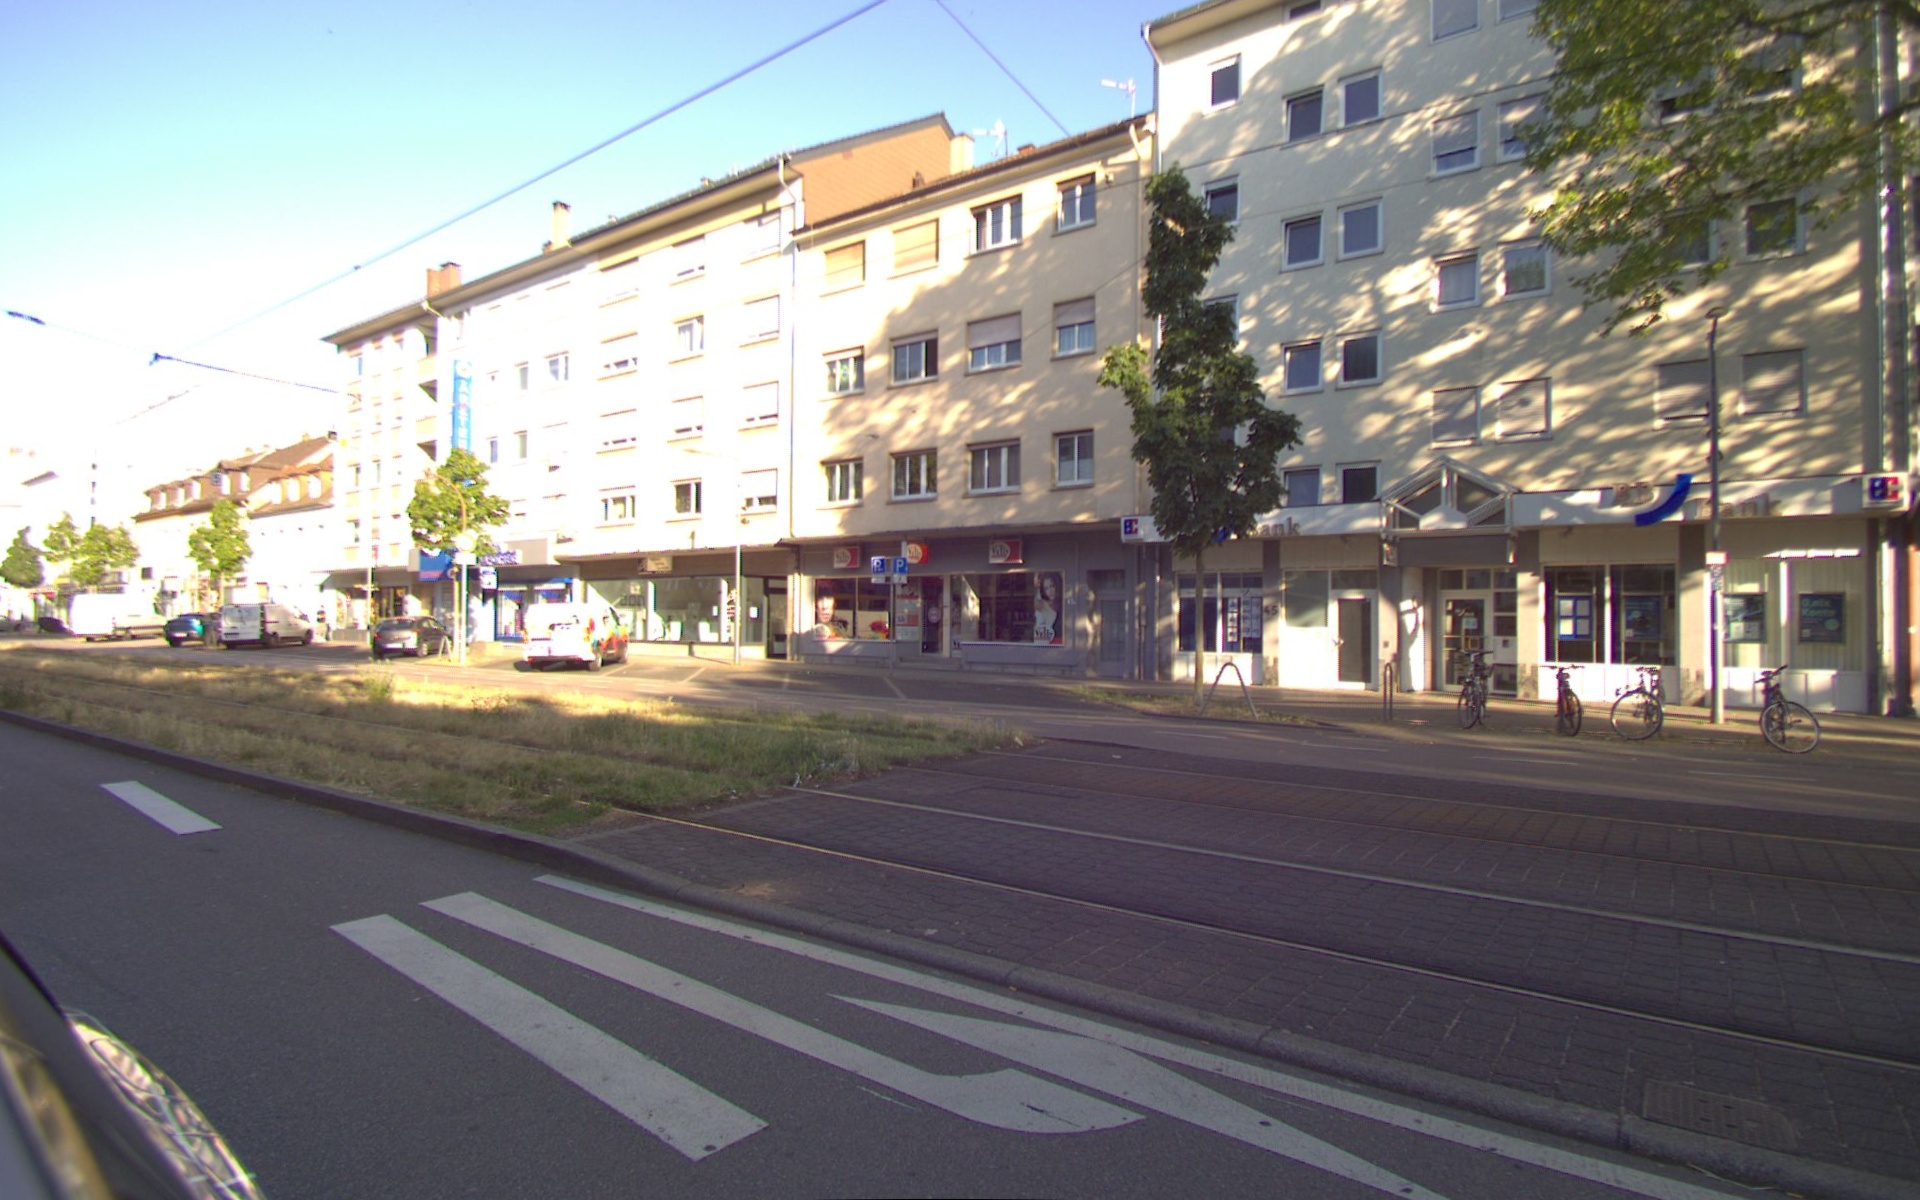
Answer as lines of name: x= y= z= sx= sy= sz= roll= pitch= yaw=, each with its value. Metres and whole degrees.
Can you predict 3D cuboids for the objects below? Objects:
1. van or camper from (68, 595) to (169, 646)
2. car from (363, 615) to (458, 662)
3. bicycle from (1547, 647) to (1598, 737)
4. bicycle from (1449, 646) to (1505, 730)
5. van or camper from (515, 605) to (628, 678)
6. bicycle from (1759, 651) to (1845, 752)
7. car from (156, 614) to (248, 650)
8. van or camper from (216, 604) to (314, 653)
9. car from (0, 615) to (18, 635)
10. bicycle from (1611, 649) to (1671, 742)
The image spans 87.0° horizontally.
van or camper: x=-47.673 y=1.074 z=57.527 sx=1.966 sy=2.687 sz=6.417 roll=-1 pitch=0 yaw=-16
car: x=-20.005 y=1.370 z=37.068 sx=1.741 sy=1.501 sz=4.461 roll=-1 pitch=0 yaw=-10
bicycle: x=8.888 y=1.290 z=14.650 sx=0.533 sy=1.133 sz=1.878 roll=-1 pitch=-1 yaw=34
bicycle: x=7.867 y=1.296 z=15.374 sx=0.533 sy=1.133 sz=1.878 roll=-1 pitch=-1 yaw=34
van or camper: x=-11.317 y=1.136 z=29.810 sx=1.921 sy=1.912 sz=4.822 roll=-1 pitch=0 yaw=-6
bicycle: x=10.932 y=1.277 z=13.188 sx=0.650 sy=1.133 sz=1.878 roll=-1 pitch=-1 yaw=34
car: x=-36.629 y=1.513 z=49.033 sx=1.850 sy=1.598 sz=4.006 roll=-1 pitch=0 yaw=-7
van or camper: x=-30.916 y=1.215 z=45.179 sx=1.772 sy=2.004 sz=4.459 roll=-1 pitch=0 yaw=-8
car: x=-75.575 y=1.957 z=78.119 sx=1.752 sy=1.501 sz=3.899 roll=-1 pitch=0 yaw=13
bicycle: x=9.537 y=1.289 z=14.181 sx=0.650 sy=1.133 sz=1.878 roll=-1 pitch=-1 yaw=34
